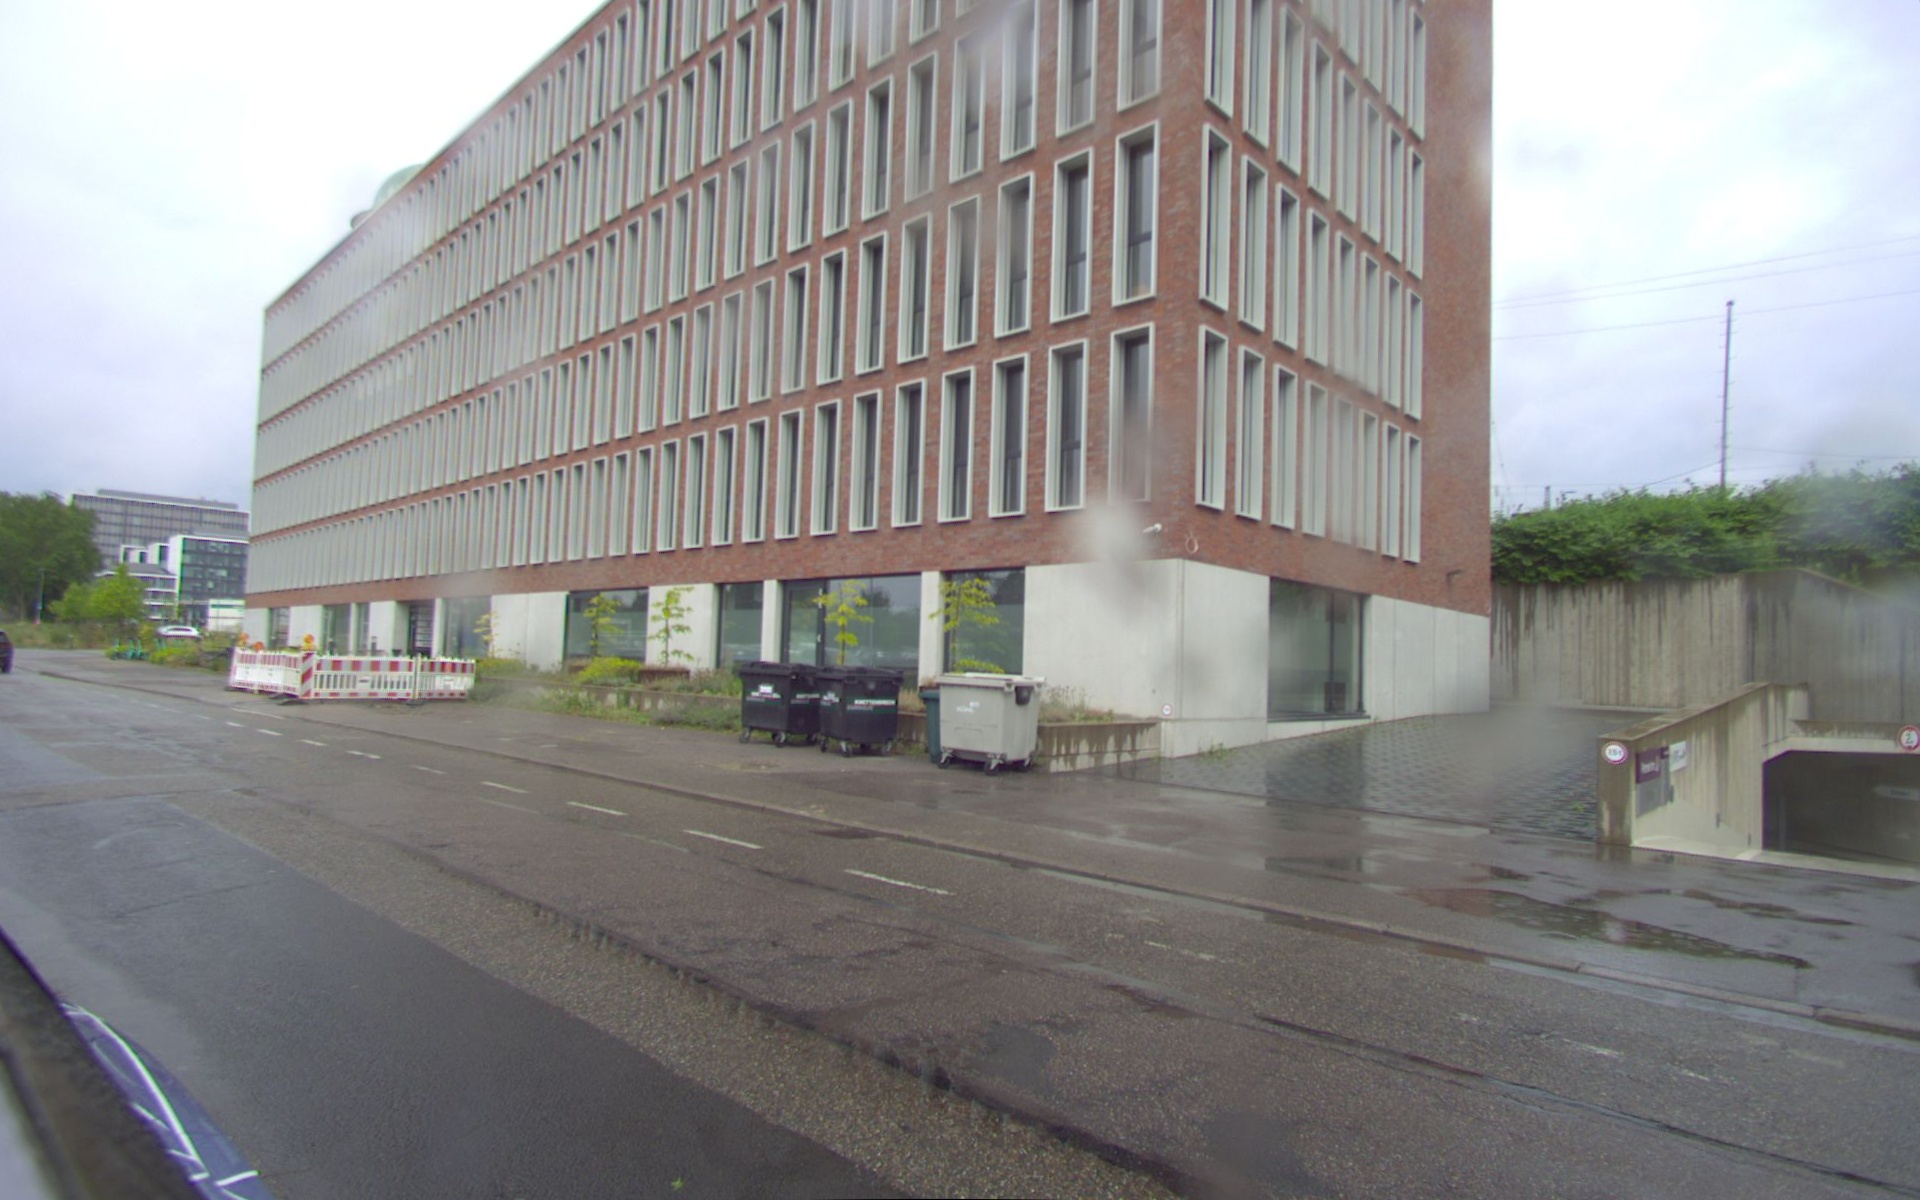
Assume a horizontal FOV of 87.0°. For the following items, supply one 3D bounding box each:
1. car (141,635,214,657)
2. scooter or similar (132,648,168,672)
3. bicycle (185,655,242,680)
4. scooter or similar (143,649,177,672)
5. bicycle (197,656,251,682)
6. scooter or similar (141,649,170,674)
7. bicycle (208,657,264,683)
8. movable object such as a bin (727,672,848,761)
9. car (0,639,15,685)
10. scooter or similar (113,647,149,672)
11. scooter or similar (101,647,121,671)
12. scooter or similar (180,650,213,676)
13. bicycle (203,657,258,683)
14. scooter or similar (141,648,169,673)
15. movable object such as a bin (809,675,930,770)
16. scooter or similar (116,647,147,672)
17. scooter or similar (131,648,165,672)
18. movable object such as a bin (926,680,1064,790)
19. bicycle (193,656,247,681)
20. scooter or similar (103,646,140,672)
[{"bbox_3d":[-66.149,3.882,85.606,1.998,1.653,4.477,0,-4,38],"label":"car"},{"bbox_3d":[-41.959,3.126,52.417,0.465,1.186,1.307,0,-5,29],"label":"scooter or similar"},{"bbox_3d":[-33.805,3.061,45.841,0.620,1.085,1.928,-1,-3,40],"label":"bicycle"},{"bbox_3d":[-42.470,3.219,53.740,1.301,1.186,0.468,7,-6,-43],"label":"scooter or similar"},{"bbox_3d":[-32.636,3.060,44.900,0.544,1.085,1.840,-1,-3,40],"label":"bicycle"},{"bbox_3d":[-40.662,3.103,51.162,0.460,1.217,1.209,3,-4,-6],"label":"scooter or similar"},{"bbox_3d":[-31.329,3.036,43.800,0.544,1.085,1.840,-1,-3,40],"label":"bicycle"},{"bbox_3d":[-2.818,1.872,16.582,1.445,1.318,1.284,-1,-5,35],"label":"movable object such as a bin"},{"bbox_3d":[-35.610,2.119,36.165,4.140,1.581,1.744,-1,-7,35],"label":"car"},{"bbox_3d":[-44.270,3.188,54.064,1.299,1.239,0.509,3,-5,-10],"label":"scooter or similar"},{"bbox_3d":[-44.391,3.087,52.904,1.319,1.239,0.461,-1,-6,38],"label":"scooter or similar"},{"bbox_3d":[-38.508,3.188,51.075,1.211,1.217,0.418,6,-6,-42],"label":"scooter or similar"},{"bbox_3d":[-31.976,3.045,44.353,0.544,1.085,1.840,-1,-3,40],"label":"bicycle"},{"bbox_3d":[-41.168,3.116,51.796,0.460,1.239,1.209,3,-4,-6],"label":"scooter or similar"},{"bbox_3d":[-1.400,1.837,15.438,1.355,1.318,1.453,4,-4,-27],"label":"movable object such as a bin"},{"bbox_3d":[-43.051,3.072,52.592,1.307,1.239,0.465,2,-5,13],"label":"scooter or similar"},{"bbox_3d":[-43.153,3.208,53.808,1.301,1.186,0.468,7,-6,-43],"label":"scooter or similar"},{"bbox_3d":[0.481,1.792,13.805,1.357,1.342,1.282,-1,-5,40],"label":"movable object such as a bin"},{"bbox_3d":[-33.129,3.065,45.327,0.544,1.085,1.840,-1,-3,40],"label":"bicycle"},{"bbox_3d":[-42.466,2.986,51.268,1.298,1.239,0.469,4,-5,-19],"label":"scooter or similar"}]
